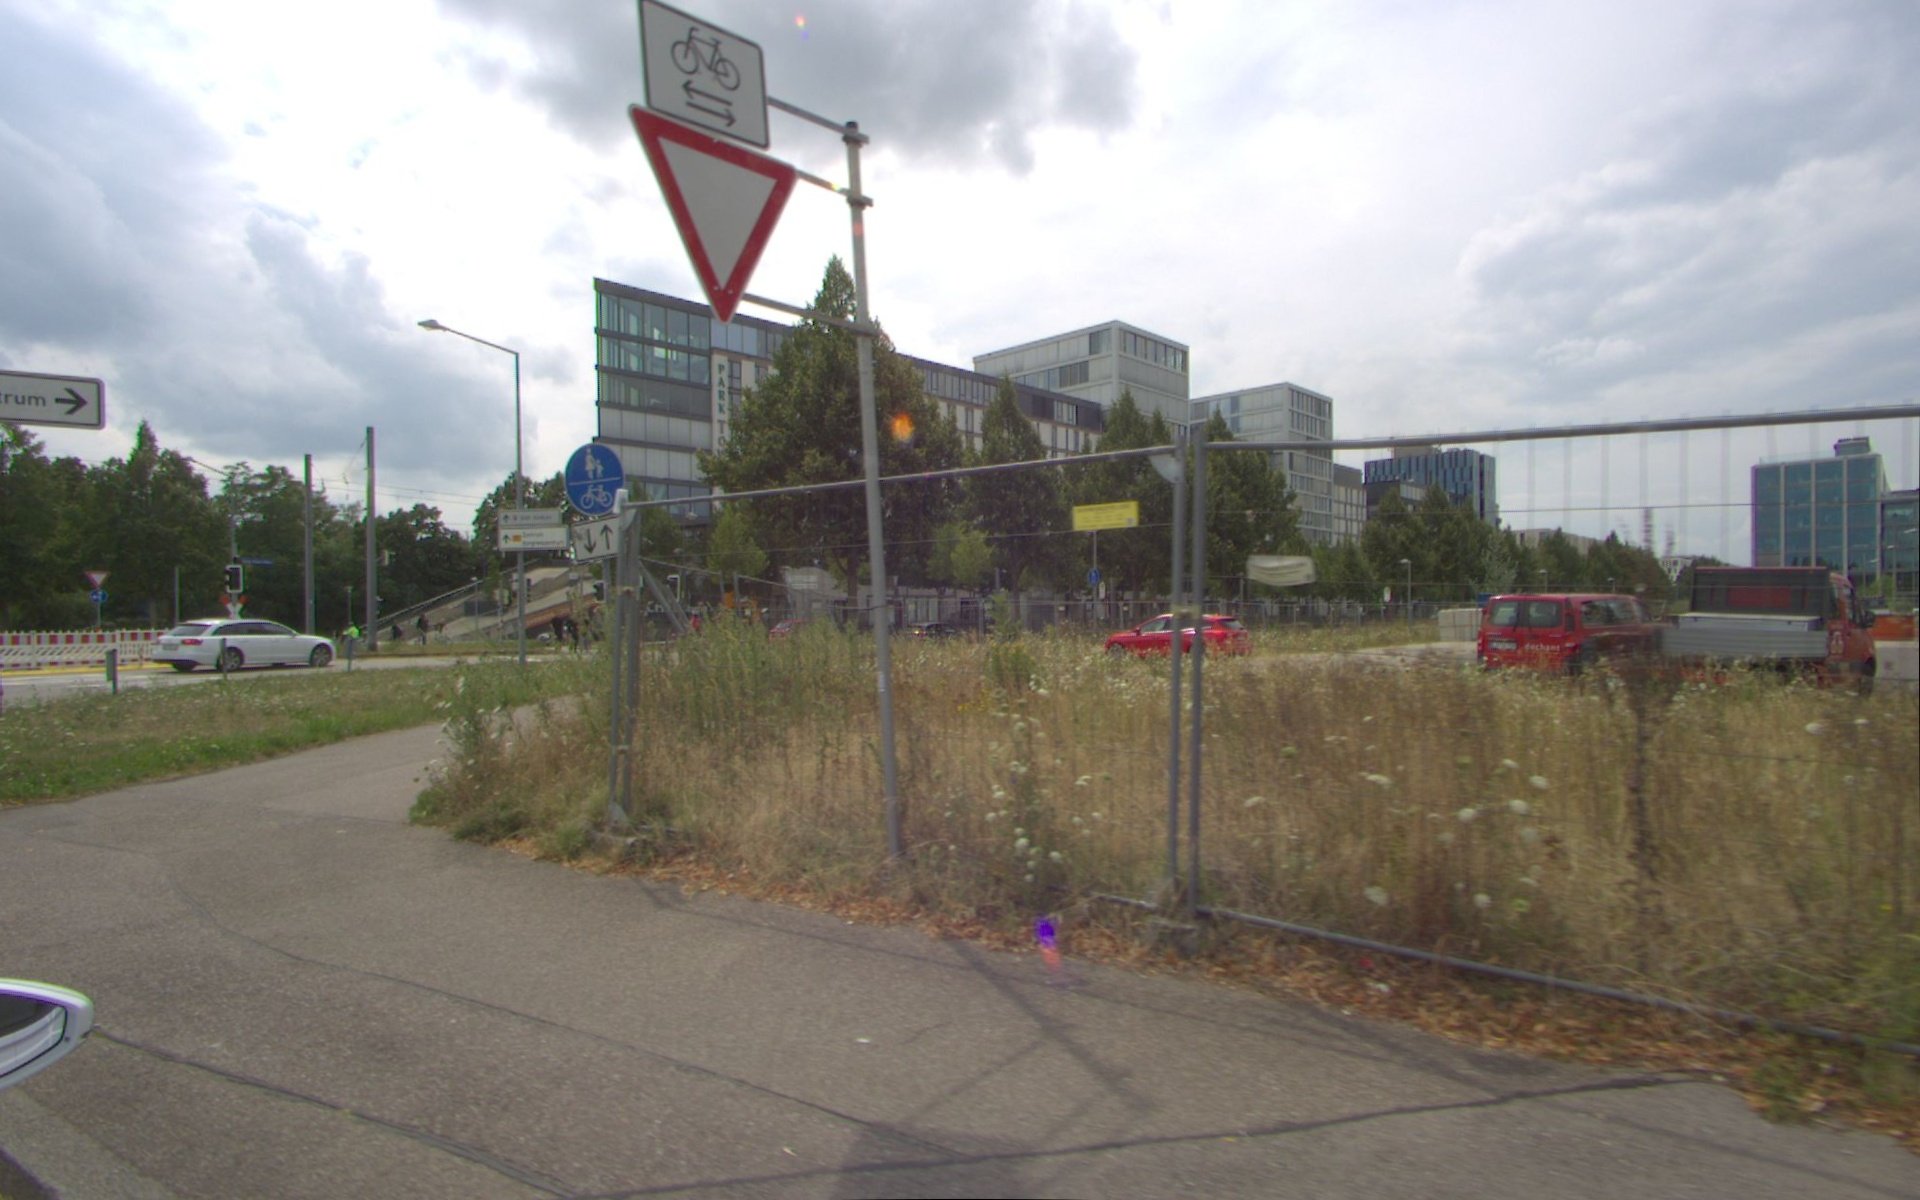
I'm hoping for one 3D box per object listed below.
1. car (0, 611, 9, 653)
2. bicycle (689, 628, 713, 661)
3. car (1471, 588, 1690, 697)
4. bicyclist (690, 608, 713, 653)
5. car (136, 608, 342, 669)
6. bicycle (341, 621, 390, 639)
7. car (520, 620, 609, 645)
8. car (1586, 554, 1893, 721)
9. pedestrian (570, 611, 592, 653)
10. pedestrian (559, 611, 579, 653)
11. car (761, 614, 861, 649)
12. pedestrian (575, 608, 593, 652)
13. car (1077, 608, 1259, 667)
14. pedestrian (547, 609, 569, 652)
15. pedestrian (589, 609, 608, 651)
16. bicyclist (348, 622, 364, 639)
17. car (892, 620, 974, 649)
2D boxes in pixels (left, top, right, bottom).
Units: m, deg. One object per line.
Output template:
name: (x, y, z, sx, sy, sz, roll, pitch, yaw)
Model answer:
car: (-42.779, 1.421, 42.931, 3.943, 1.772, 1.990, -2, -2, 32)
bicycle: (-9.711, 1.647, 37.538, 0.777, 1.183, 2.038, 0, -1, -17)
car: (12.613, 0.788, 20.255, 4.924, 1.936, 1.923, 1, 1, -35)
bicyclist: (-9.681, 1.144, 37.508, 0.777, 1.648, 1.047, 0, 0, -17)
car: (-21.045, 1.097, 29.526, 1.964, 1.639, 4.747, 0, -1, 16)
bicycle: (-32.406, 1.660, 54.610, 2.166, 0.950, 0.613, 0, -2, -19)
car: (-23.832, 1.927, 60.418, 4.693, 1.477, 1.830, 1, -1, -45)
car: (13.680, 0.596, 17.413, 6.456, 2.444, 2.304, 0, -1, -34)
pedestrian: (-16.259, 1.358, 42.983, 0.546, 1.805, 0.685, 0, 0, 39)
pedestrian: (-16.894, 1.372, 43.261, 0.546, 1.805, 0.629, 0, 0, 39)
car: (-7.287, 1.530, 49.341, 1.979, 1.639, 4.711, -1, -1, 43)
pedestrian: (-16.461, 1.301, 43.810, 0.546, 1.886, 0.527, 0, 0, 39)
car: (6.091, 1.075, 29.722, 5.076, 1.625, 1.777, -1, -1, 39)
pedestrian: (-17.150, 1.307, 42.725, 0.546, 1.805, 0.685, 0, 0, 39)
pedestrian: (-15.723, 1.280, 43.509, 0.546, 1.805, 0.576, 0, 0, 39)
bicyclist: (-32.858, 1.658, 54.456, 0.647, 0.895, 0.606, 0, -2, -19)
car: (-1.362, 1.728, 51.380, 1.979, 1.392, 3.964, -1, -1, 44)
